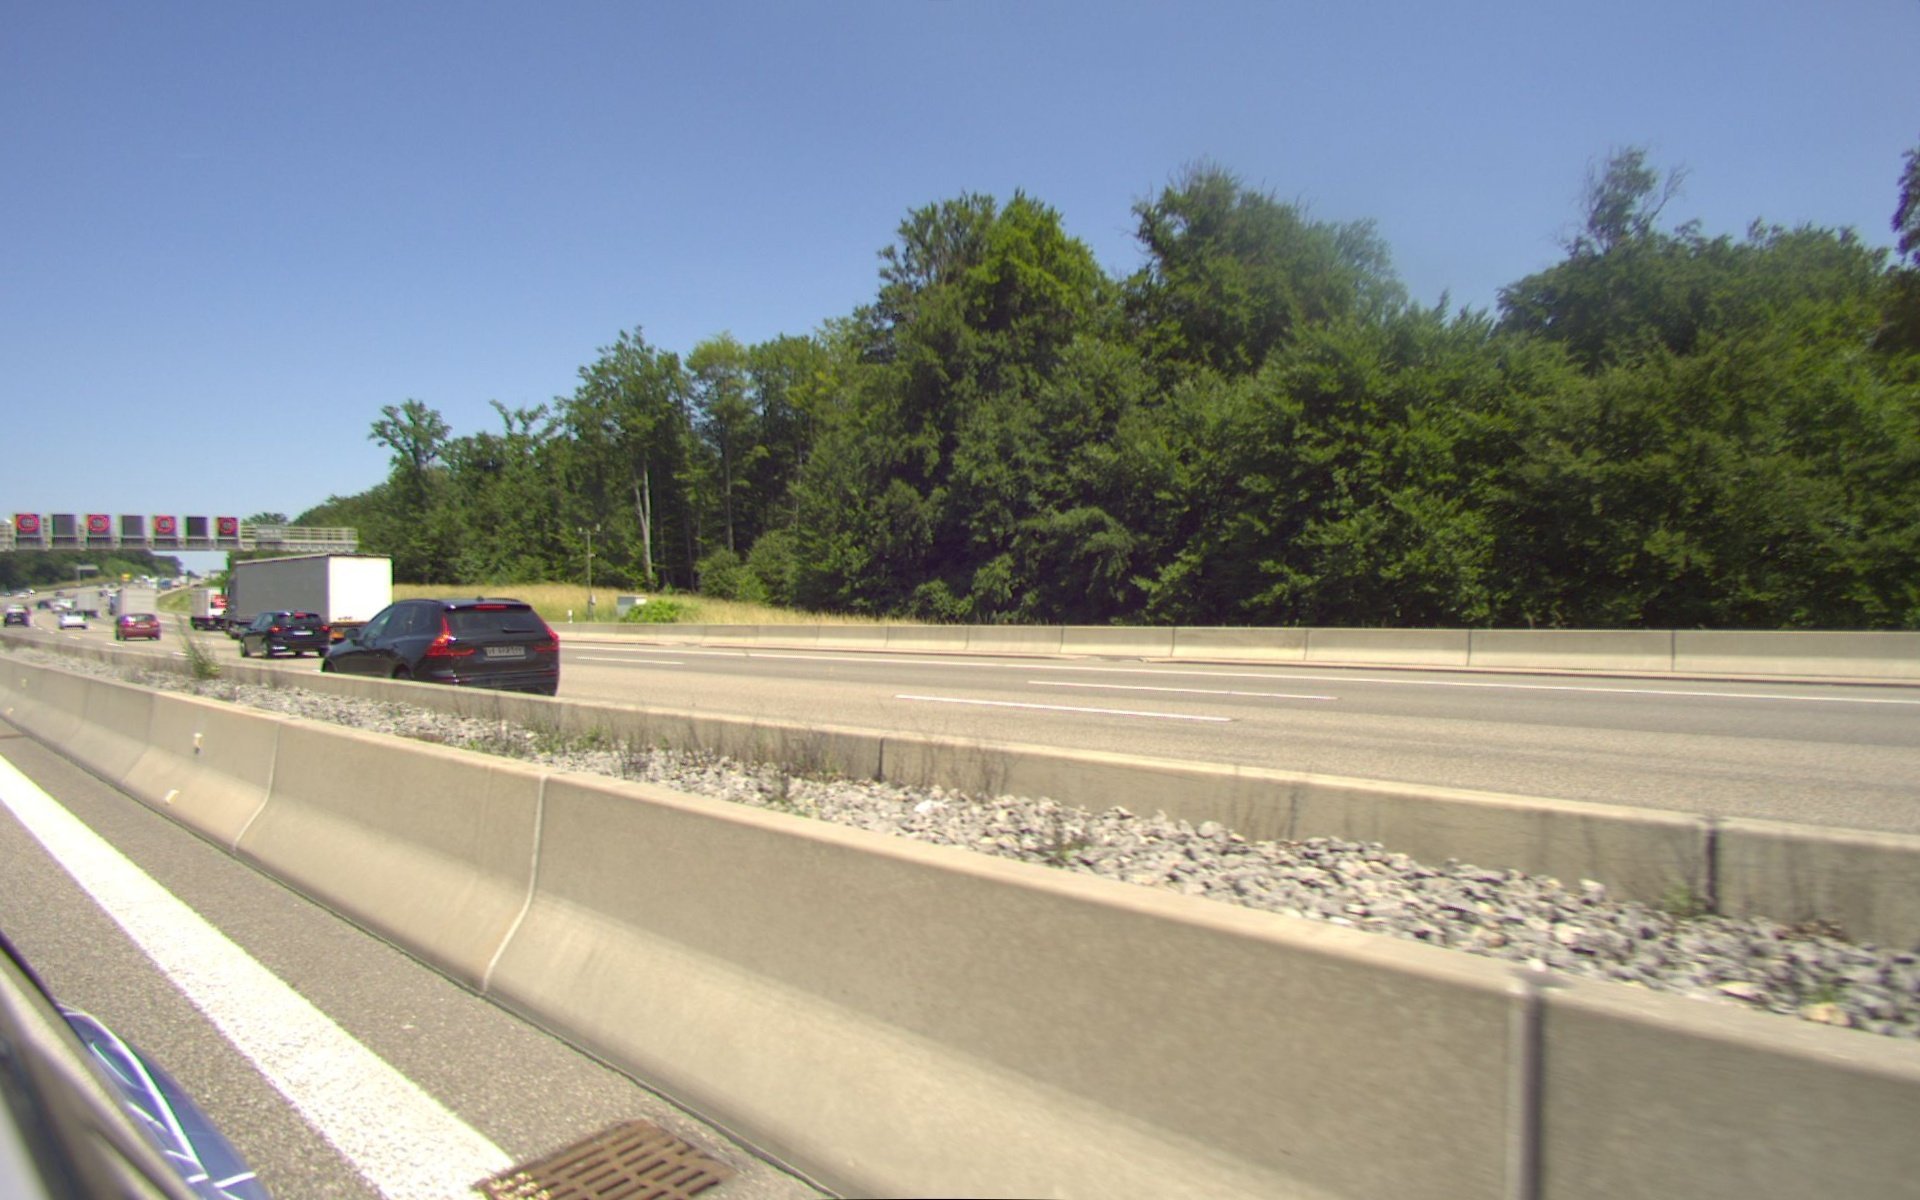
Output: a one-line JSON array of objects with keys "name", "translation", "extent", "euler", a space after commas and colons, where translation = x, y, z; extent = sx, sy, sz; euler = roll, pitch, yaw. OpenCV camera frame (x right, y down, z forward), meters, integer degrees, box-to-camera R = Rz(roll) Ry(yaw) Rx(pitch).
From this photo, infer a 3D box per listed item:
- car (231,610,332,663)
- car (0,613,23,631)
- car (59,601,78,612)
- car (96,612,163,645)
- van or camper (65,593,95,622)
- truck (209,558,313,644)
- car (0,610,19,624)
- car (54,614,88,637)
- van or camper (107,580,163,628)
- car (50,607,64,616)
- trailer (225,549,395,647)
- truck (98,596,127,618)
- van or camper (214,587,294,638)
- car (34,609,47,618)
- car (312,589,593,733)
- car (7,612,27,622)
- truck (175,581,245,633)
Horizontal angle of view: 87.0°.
[{"name": "car", "translation": [-22.713, 1.172, 33.833], "extent": [4.360, 1.531, 1.742], "euler": [1, 2, 42]}, {"name": "car", "translation": [-87.659, 1.995, 93.099], "extent": [4.846, 1.602, 1.971], "euler": [-1, 0, 45]}, {"name": "car", "translation": [-166.110, 1.199, 188.489], "extent": [2.170, 2.071, 7.145], "euler": [0, 0, -45]}, {"name": "car", "translation": [-45.963, 1.547, 55.979], "extent": [5.031, 1.741, 2.262], "euler": [-1, 0, 43]}, {"name": "van or camper", "translation": [-118.731, 1.011, 136.542], "extent": [7.760, 3.706, 2.403], "euler": [-1, 0, 44]}, {"name": "truck", "translation": [-37.286, 0.090, 53.929], "extent": [6.445, 4.322, 2.848], "euler": [-1, -1, 39]}, {"name": "car", "translation": [-123.793, 2.188, 131.508], "extent": [5.347, 1.750, 1.965], "euler": [0, 1, 45]}, {"name": "car", "translation": [-74.167, 2.098, 84.384], "extent": [5.120, 1.776, 1.721], "euler": [-1, -1, 44]}, {"name": "van or camper", "translation": [-70.810, 0.285, 86.796], "extent": [8.218, 3.867, 2.798], "euler": [1, 2, 44]}, {"name": "car", "translation": [-146.234, 1.873, 163.923], "extent": [1.680, 1.412, 4.357], "euler": [-1, 2, -41]}, {"name": "trailer", "translation": [-32.289, -0.029, 49.841], "extent": [13.944, 4.295, 2.836], "euler": [-1, -1, 39]}, {"name": "truck", "translation": [-127.029, 1.011, 151.629], "extent": [2.818, 3.014, 5.850], "euler": [-2, 2, -45]}, {"name": "van or camper", "translation": [-46.832, 0.703, 67.020], "extent": [8.096, 3.148, 2.734], "euler": [1, 2, 44]}, {"name": "car", "translation": [-176.462, 2.618, 194.188], "extent": [1.805, 1.674, 4.922], "euler": [-2, 2, -43]}, {"name": "car", "translation": [-7.161, 0.748, 14.086], "extent": [4.432, 1.680, 1.973], "euler": [-1, -1, 41]}, {"name": "car", "translation": [-138.692, 2.531, 148.796], "extent": [5.223, 1.453, 2.024], "euler": [-1, 0, 45]}, {"name": "truck", "translation": [-57.812, 0.438, 77.868], "extent": [9.244, 3.724, 2.837], "euler": [1, 2, 44]}]
